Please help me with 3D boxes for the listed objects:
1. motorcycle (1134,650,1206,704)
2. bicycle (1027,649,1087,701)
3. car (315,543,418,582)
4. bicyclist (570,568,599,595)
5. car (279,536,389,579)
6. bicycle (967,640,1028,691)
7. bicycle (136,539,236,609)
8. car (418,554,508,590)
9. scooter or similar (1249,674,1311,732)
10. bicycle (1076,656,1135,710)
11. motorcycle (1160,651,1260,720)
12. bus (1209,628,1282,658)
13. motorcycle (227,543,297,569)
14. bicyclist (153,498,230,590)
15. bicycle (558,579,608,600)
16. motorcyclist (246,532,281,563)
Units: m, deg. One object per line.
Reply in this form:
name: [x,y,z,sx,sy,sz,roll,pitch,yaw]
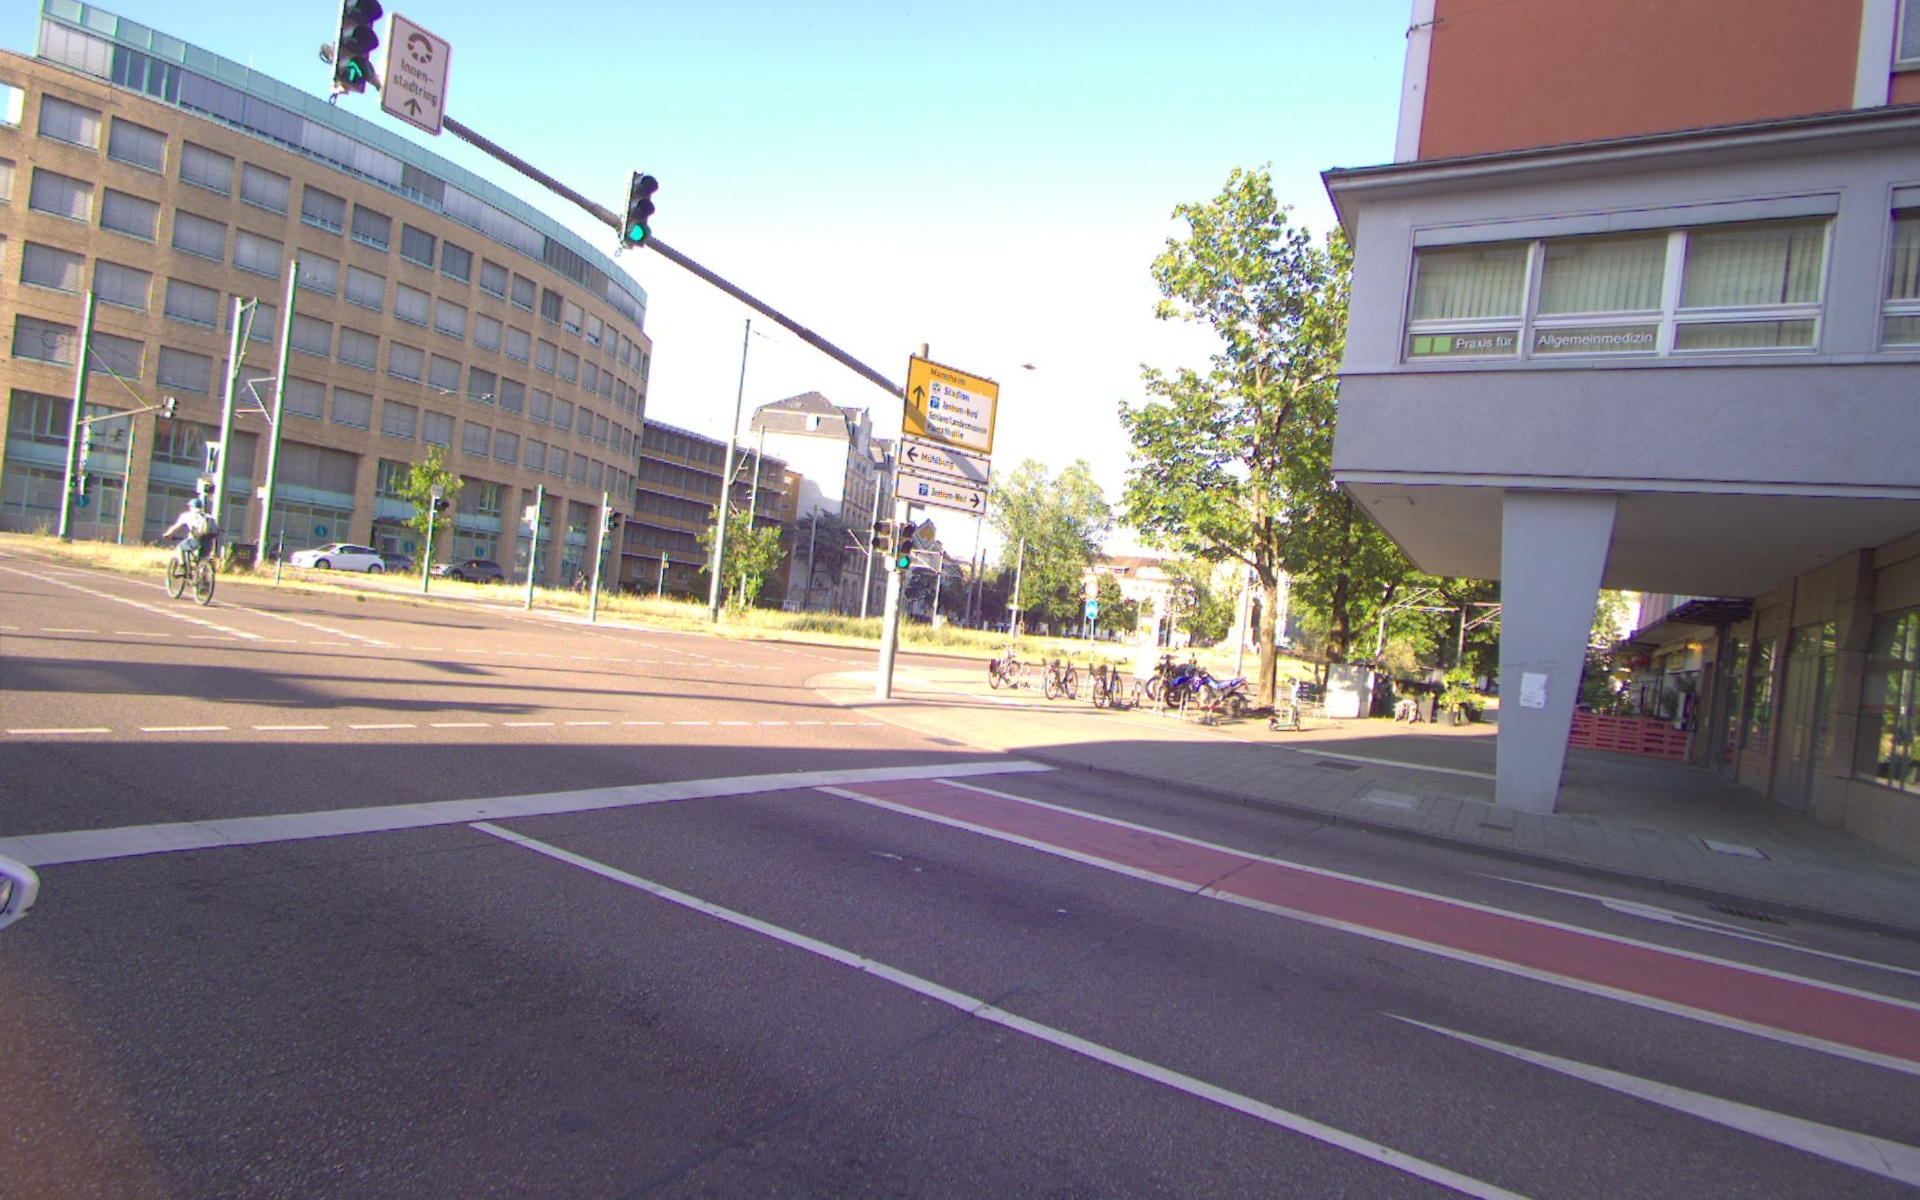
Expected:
motorcycle: [5.900,2.175,28.192,2.044,1.324,0.879,7,-1,-44]
bicycle: [2.336,1.773,24.024,0.584,1.129,2.003,7,1,29]
car: [-33.162,-2.069,56.358,1.953,1.555,4.488,6,-1,32]
bicyclist: [-24.690,-1.212,66.164,1.134,1.591,1.225,6,0,30]
car: [-31.083,-2.086,50.072,1.961,1.509,4.171,6,-1,29]
bicycle: [0.945,1.597,24.846,0.584,1.129,1.974,7,1,28]
bicycle: [-12.958,-0.445,16.826,1.945,0.954,0.593,7,-2,32]
car: [-27.639,-1.540,56.045,1.790,1.509,4.058,6,-1,30]
scooter or similar: [7.306,2.357,22.926,1.549,1.251,0.479,6,1,-40]
bicycle: [3.409,1.909,23.407,0.583,1.129,2.058,7,1,28]
motorcycle: [6.310,2.152,25.391,2.224,1.409,0.844,7,-1,19]
bus: [43.005,6.448,151.431,10.952,3.249,2.402,7,-1,-18]
motorcycle: [-35.876,-2.268,51.729,1.014,0.975,2.722,6,-1,30]
bicyclist: [-12.824,-0.936,16.782,0.914,1.385,0.593,7,-1,32]
bicycle: [-24.785,-0.663,66.133,1.134,1.012,2.966,6,-1,29]
motorcyclist: [-35.822,-2.698,51.741,1.014,1.453,1.067,6,0,31]
